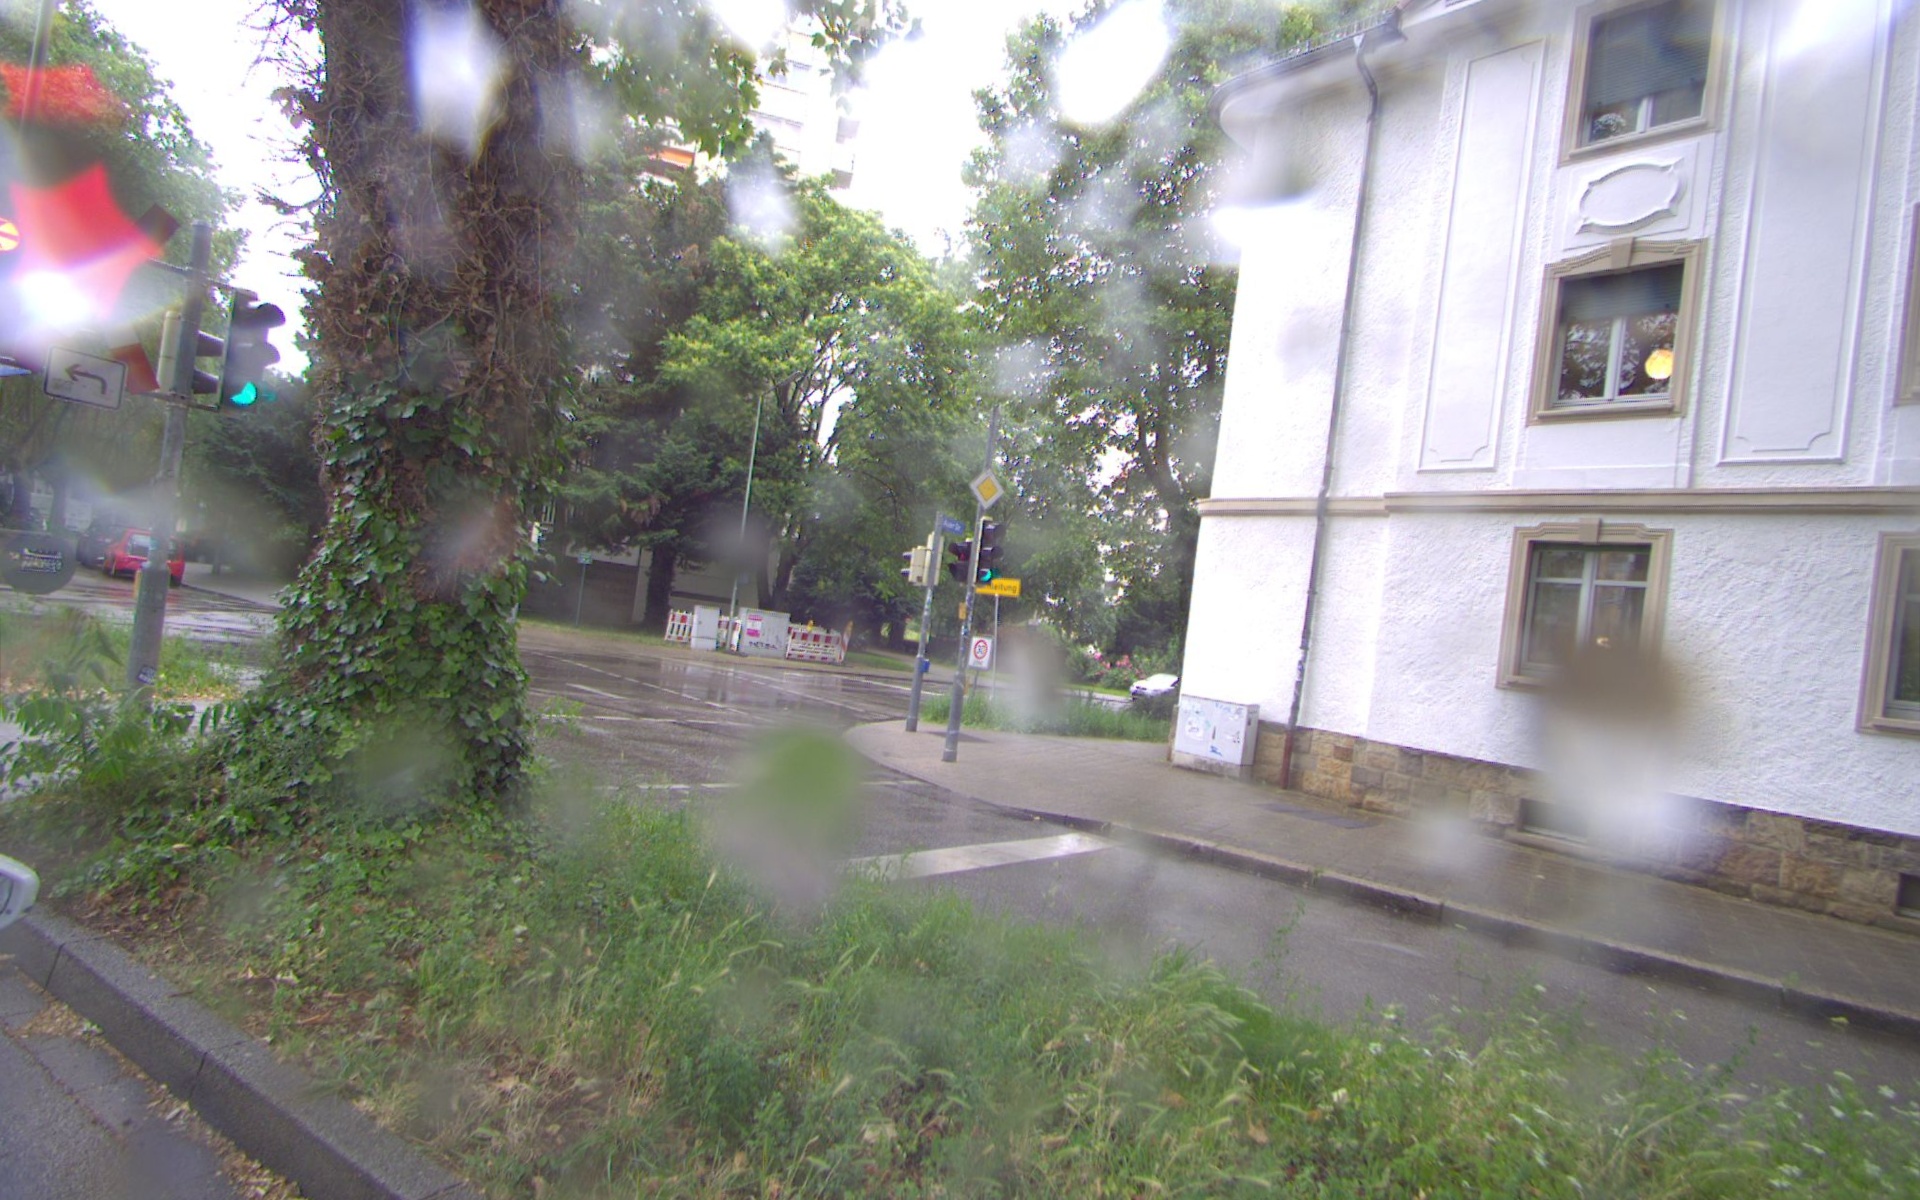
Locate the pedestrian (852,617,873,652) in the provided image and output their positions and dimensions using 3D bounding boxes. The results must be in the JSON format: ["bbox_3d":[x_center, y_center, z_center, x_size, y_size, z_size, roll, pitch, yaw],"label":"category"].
[{"bbox_3d":[-5.393,1.903,55.635,0.675,1.863,0.707,8,-1,-44],"label":"pedestrian"}]

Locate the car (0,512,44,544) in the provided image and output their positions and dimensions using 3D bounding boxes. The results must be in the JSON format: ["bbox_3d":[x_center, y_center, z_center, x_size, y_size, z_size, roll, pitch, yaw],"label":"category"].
[{"bbox_3d":[-56.200,-4.363,58.627,1.974,1.565,3.980,6,-3,44],"label":"car"}]

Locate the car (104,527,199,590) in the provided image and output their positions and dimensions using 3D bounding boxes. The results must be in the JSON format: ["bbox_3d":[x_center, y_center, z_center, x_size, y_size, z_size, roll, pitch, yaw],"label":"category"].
[{"bbox_3d":[-24.824,-1.302,30.844,1.788,1.515,3.950,10,-2,-44],"label":"car"}]

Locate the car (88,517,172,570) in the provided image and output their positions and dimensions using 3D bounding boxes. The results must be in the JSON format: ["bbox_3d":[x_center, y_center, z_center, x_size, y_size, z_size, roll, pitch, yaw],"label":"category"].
[{"bbox_3d":[-28.091,-1.930,34.000,1.780,1.363,3.879,10,-2,-44],"label":"car"}]

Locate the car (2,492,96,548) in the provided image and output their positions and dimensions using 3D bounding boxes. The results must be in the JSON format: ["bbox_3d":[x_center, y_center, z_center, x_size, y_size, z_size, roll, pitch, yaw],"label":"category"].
[{"bbox_3d":[-61.107,-5.376,67.531,4.680,2.982,2.043,7,-1,12],"label":"car"}]

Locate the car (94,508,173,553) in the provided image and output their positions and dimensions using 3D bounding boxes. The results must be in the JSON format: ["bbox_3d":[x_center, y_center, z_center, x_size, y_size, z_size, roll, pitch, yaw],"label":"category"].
[{"bbox_3d":[-69.646,-5.824,84.811,4.683,2.982,2.001,7,-1,1],"label":"car"}]

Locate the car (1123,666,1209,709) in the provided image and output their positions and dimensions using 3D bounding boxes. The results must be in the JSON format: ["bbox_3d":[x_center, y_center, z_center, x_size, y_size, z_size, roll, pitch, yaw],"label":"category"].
[{"bbox_3d":[9.418,4.003,45.809,1.829,1.473,3.979,6,-3,45],"label":"car"}]

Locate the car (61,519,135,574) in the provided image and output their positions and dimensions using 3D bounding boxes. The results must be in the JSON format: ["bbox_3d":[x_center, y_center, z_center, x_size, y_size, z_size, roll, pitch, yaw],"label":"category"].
[{"bbox_3d":[-32.976,-2.069,38.455,1.779,1.747,3.951,9,-2,-44],"label":"car"}]
